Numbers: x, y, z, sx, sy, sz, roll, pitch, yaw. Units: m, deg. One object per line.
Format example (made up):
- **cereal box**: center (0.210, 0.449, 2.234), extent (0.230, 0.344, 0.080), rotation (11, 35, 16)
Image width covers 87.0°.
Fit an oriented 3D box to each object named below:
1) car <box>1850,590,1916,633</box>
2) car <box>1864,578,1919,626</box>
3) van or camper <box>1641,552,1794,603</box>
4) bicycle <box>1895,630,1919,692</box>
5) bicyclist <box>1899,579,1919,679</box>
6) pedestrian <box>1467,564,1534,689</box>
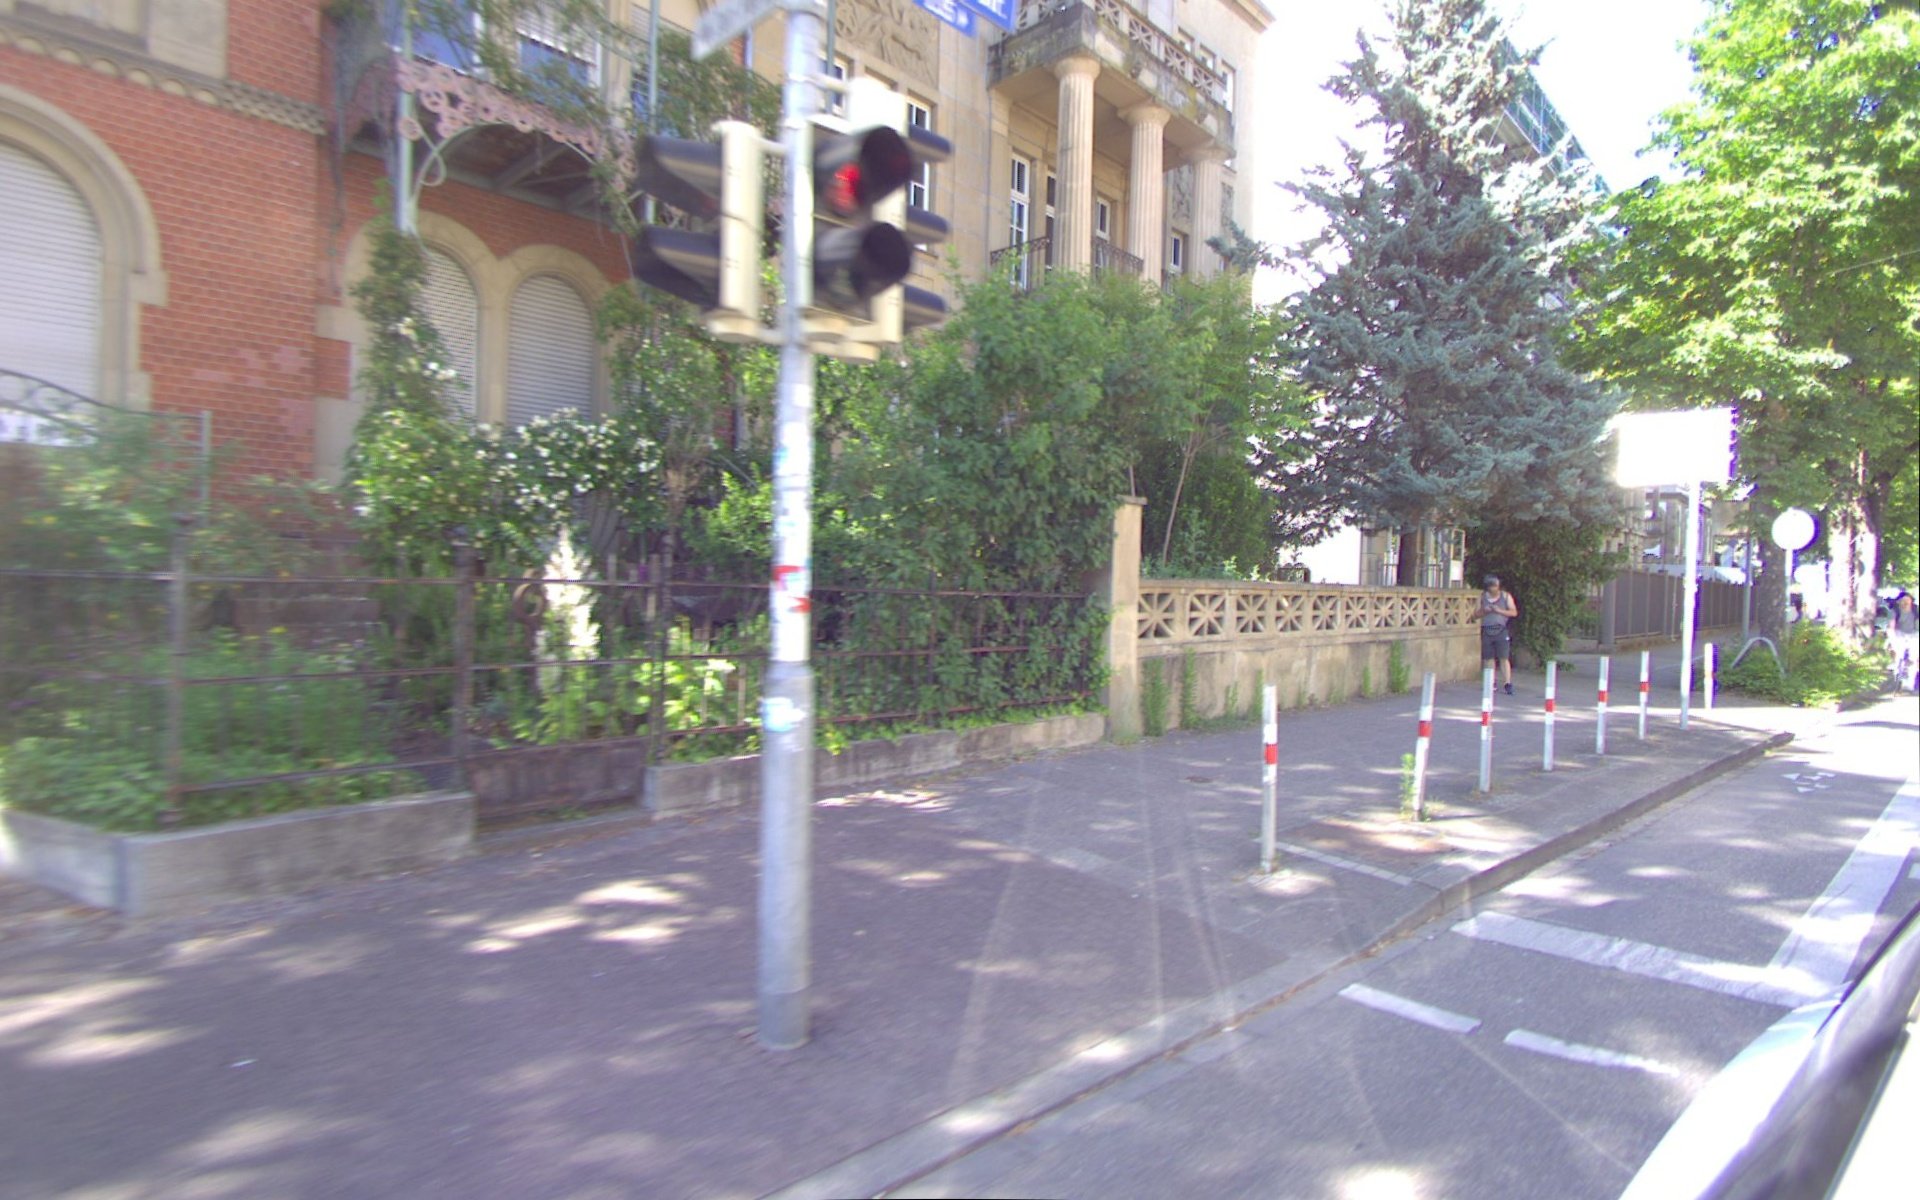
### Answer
- **car**: center (38.320, 0.431, 42.078), extent (1.872, 1.562, 4.300), rotation (4, 4, 42)
- **car**: center (50.579, 0.058, 54.903), extent (2.126, 2.371, 5.717), rotation (4, 3, 42)
- **van or camper**: center (41.772, -1.233, 56.100), extent (2.078, 2.660, 6.752), rotation (0, 1, -21)
- **bicycle**: center (16.477, 1.026, 17.362), extent (2.023, 0.933, 0.534), rotation (-1, 1, -44)
- **bicyclist**: center (16.479, 0.481, 17.339), extent (0.863, 1.690, 0.531), rotation (-1, 1, -44)
- **pedestrian**: center (7.594, 0.349, 14.218), extent (0.636, 1.691, 0.592), rotation (-1, 3, -44)
